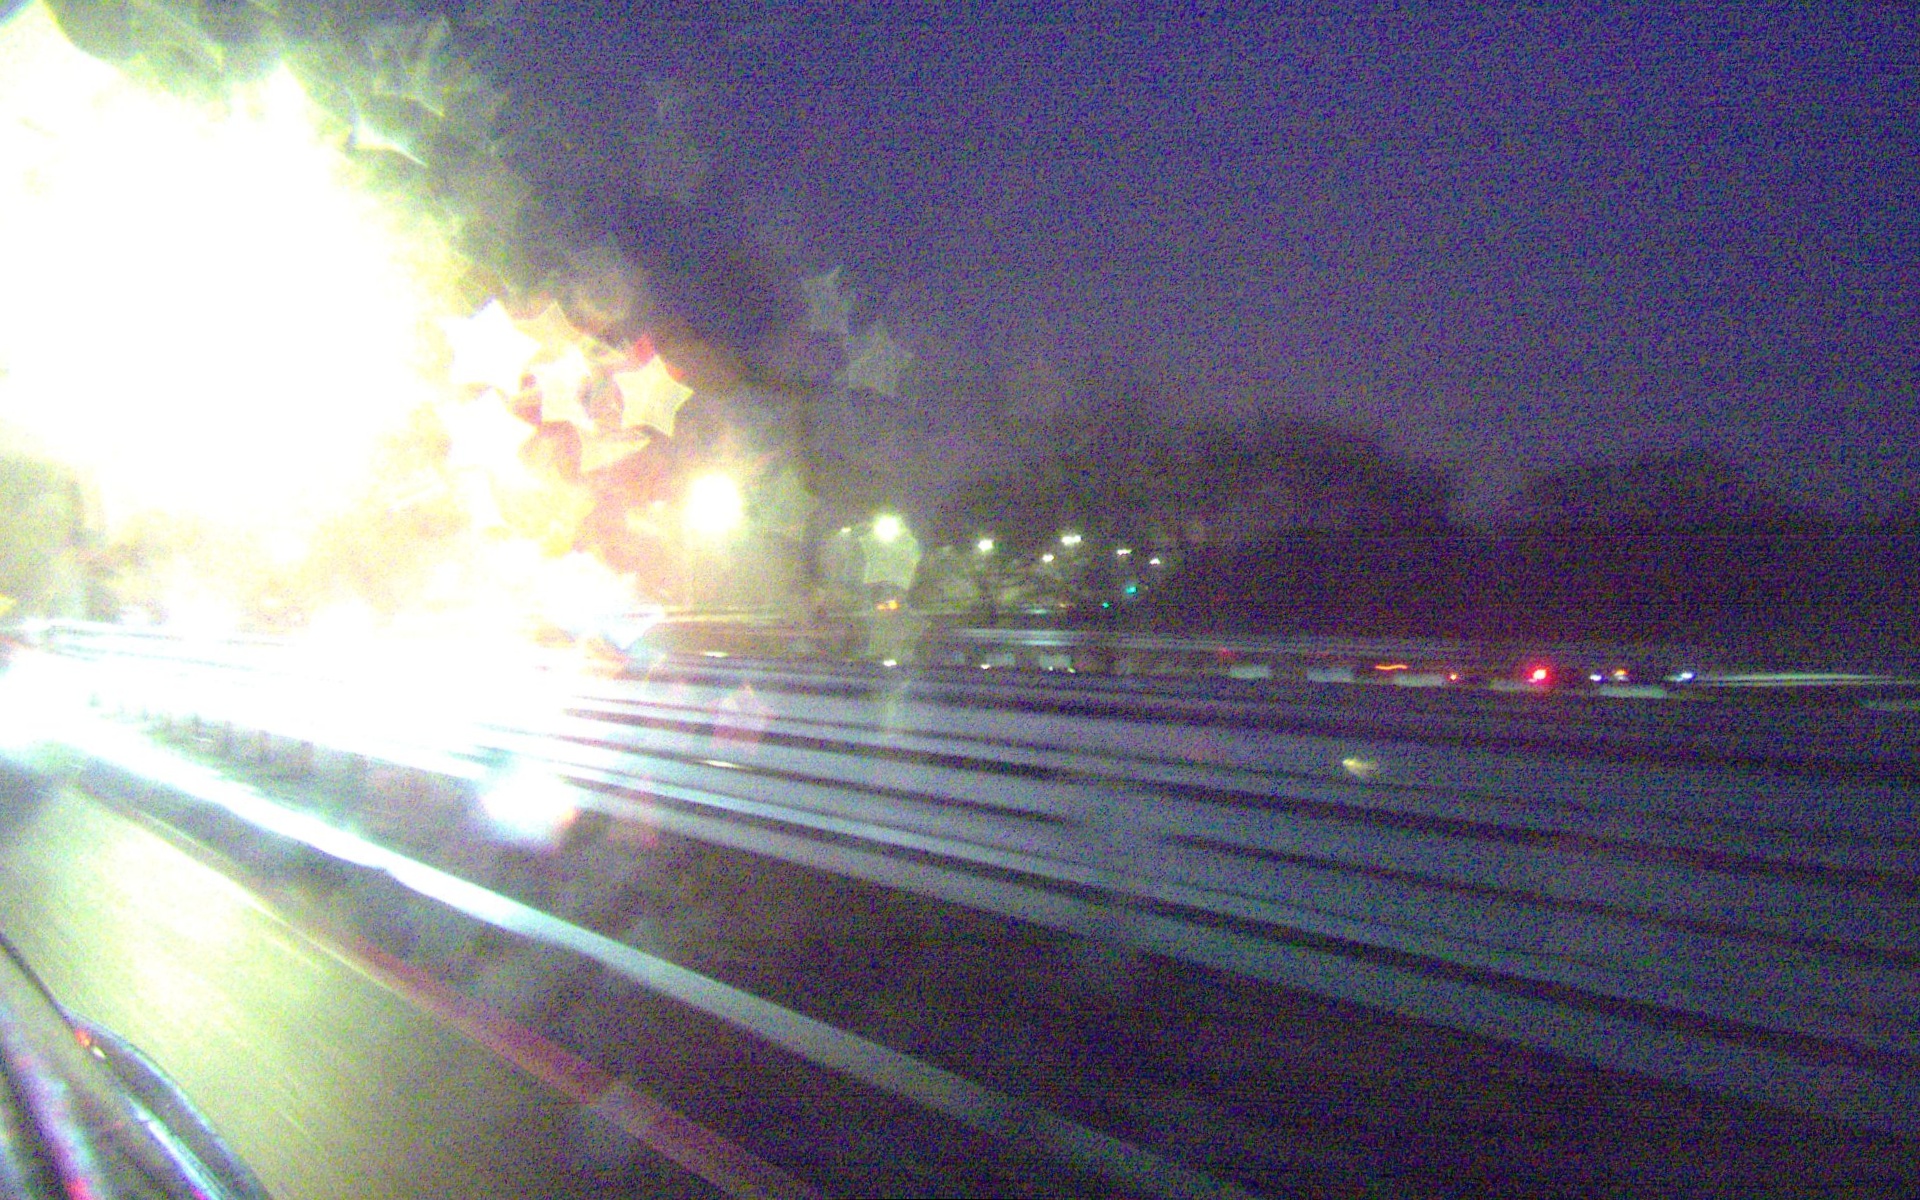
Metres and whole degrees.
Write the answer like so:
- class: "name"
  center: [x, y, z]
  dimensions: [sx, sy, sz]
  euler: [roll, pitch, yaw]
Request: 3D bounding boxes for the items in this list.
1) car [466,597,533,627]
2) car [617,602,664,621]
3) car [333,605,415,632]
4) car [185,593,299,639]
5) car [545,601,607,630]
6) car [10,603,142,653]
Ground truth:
- class: "car"
  center: [-32.966, 0.864, 72.517]
  dimensions: [1.989, 1.807, 3.966]
  euler: [-3, 2, 26]
- class: "car"
  center: [-27.476, 0.986, 87.174]
  dimensions: [1.708, 1.452, 3.969]
  euler: [-3, 0, 23]
- class: "car"
  center: [-34.550, 1.073, 59.779]
  dimensions: [1.708, 1.452, 3.969]
  euler: [-3, 0, 23]
- class: "car"
  center: [-34.785, 0.756, 49.149]
  dimensions: [1.989, 1.806, 3.966]
  euler: [-3, 3, 26]
- class: "car"
  center: [-28.625, 1.119, 75.464]
  dimensions: [1.989, 1.807, 3.966]
  euler: [-3, 2, 26]
- class: "car"
  center: [-39.937, 1.221, 45.826]
  dimensions: [1.989, 1.806, 3.966]
  euler: [-3, 3, 26]
